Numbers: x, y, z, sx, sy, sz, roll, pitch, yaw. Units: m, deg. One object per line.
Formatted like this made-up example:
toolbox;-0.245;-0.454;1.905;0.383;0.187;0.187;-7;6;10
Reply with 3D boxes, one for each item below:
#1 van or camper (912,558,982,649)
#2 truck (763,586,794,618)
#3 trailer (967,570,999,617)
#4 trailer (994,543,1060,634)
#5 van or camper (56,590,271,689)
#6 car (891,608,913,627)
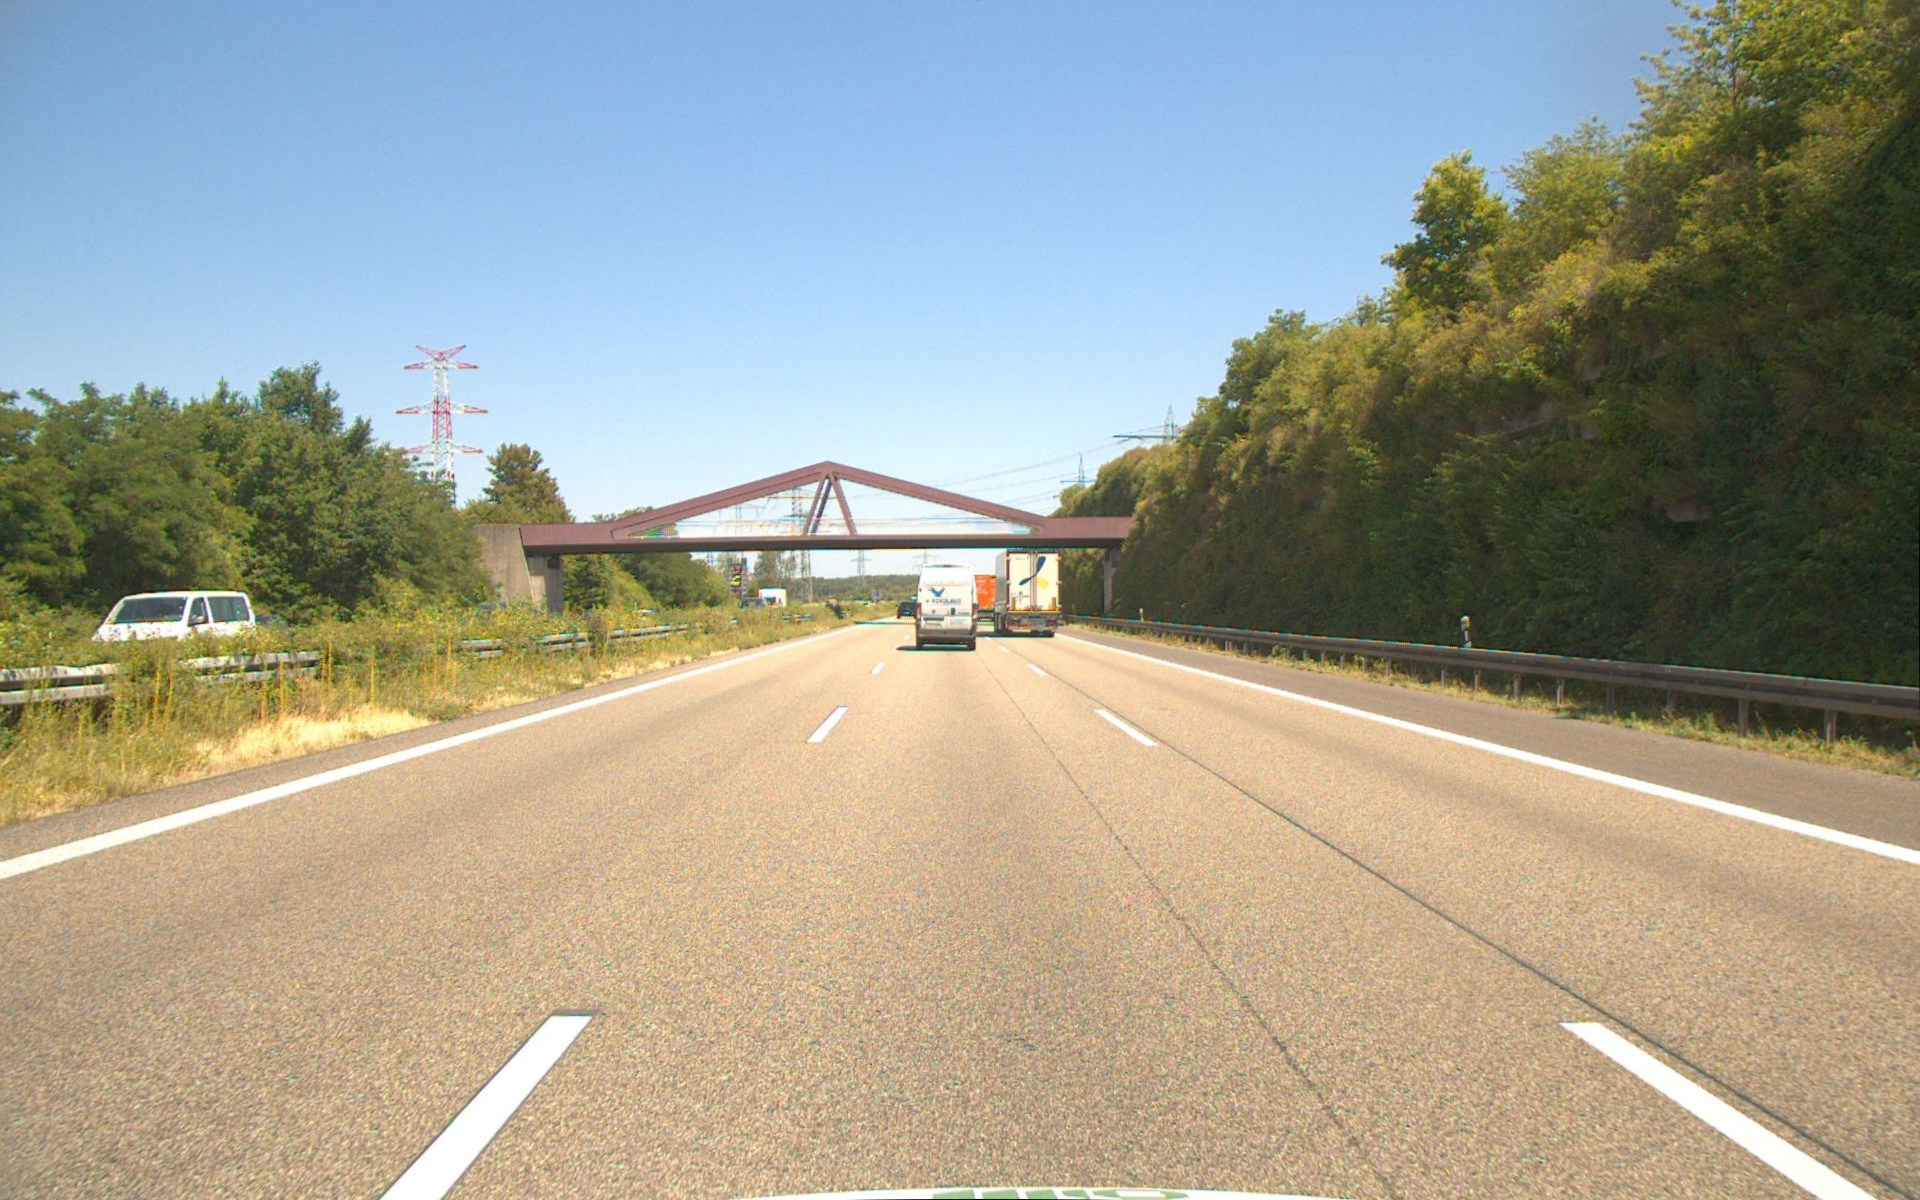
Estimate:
van or camper;-0.472;0.114;55.447;2.185;2.831;5.421;1;0;-1
truck;-22.045;0.240;201.431;2.751;3.599;10.186;-2;0;-1
trailer;2.032;-0.584;146.546;2.584;3.965;7.067;1;0;0
trailer;3.226;-0.529;82.517;2.584;4.131;12.364;1;0;0
van or camper;-17.042;0.782;35.764;2.082;1.889;5.310;-2;0;-1
car;-5.805;1.729;165.513;1.941;1.849;3.813;1;0;1
